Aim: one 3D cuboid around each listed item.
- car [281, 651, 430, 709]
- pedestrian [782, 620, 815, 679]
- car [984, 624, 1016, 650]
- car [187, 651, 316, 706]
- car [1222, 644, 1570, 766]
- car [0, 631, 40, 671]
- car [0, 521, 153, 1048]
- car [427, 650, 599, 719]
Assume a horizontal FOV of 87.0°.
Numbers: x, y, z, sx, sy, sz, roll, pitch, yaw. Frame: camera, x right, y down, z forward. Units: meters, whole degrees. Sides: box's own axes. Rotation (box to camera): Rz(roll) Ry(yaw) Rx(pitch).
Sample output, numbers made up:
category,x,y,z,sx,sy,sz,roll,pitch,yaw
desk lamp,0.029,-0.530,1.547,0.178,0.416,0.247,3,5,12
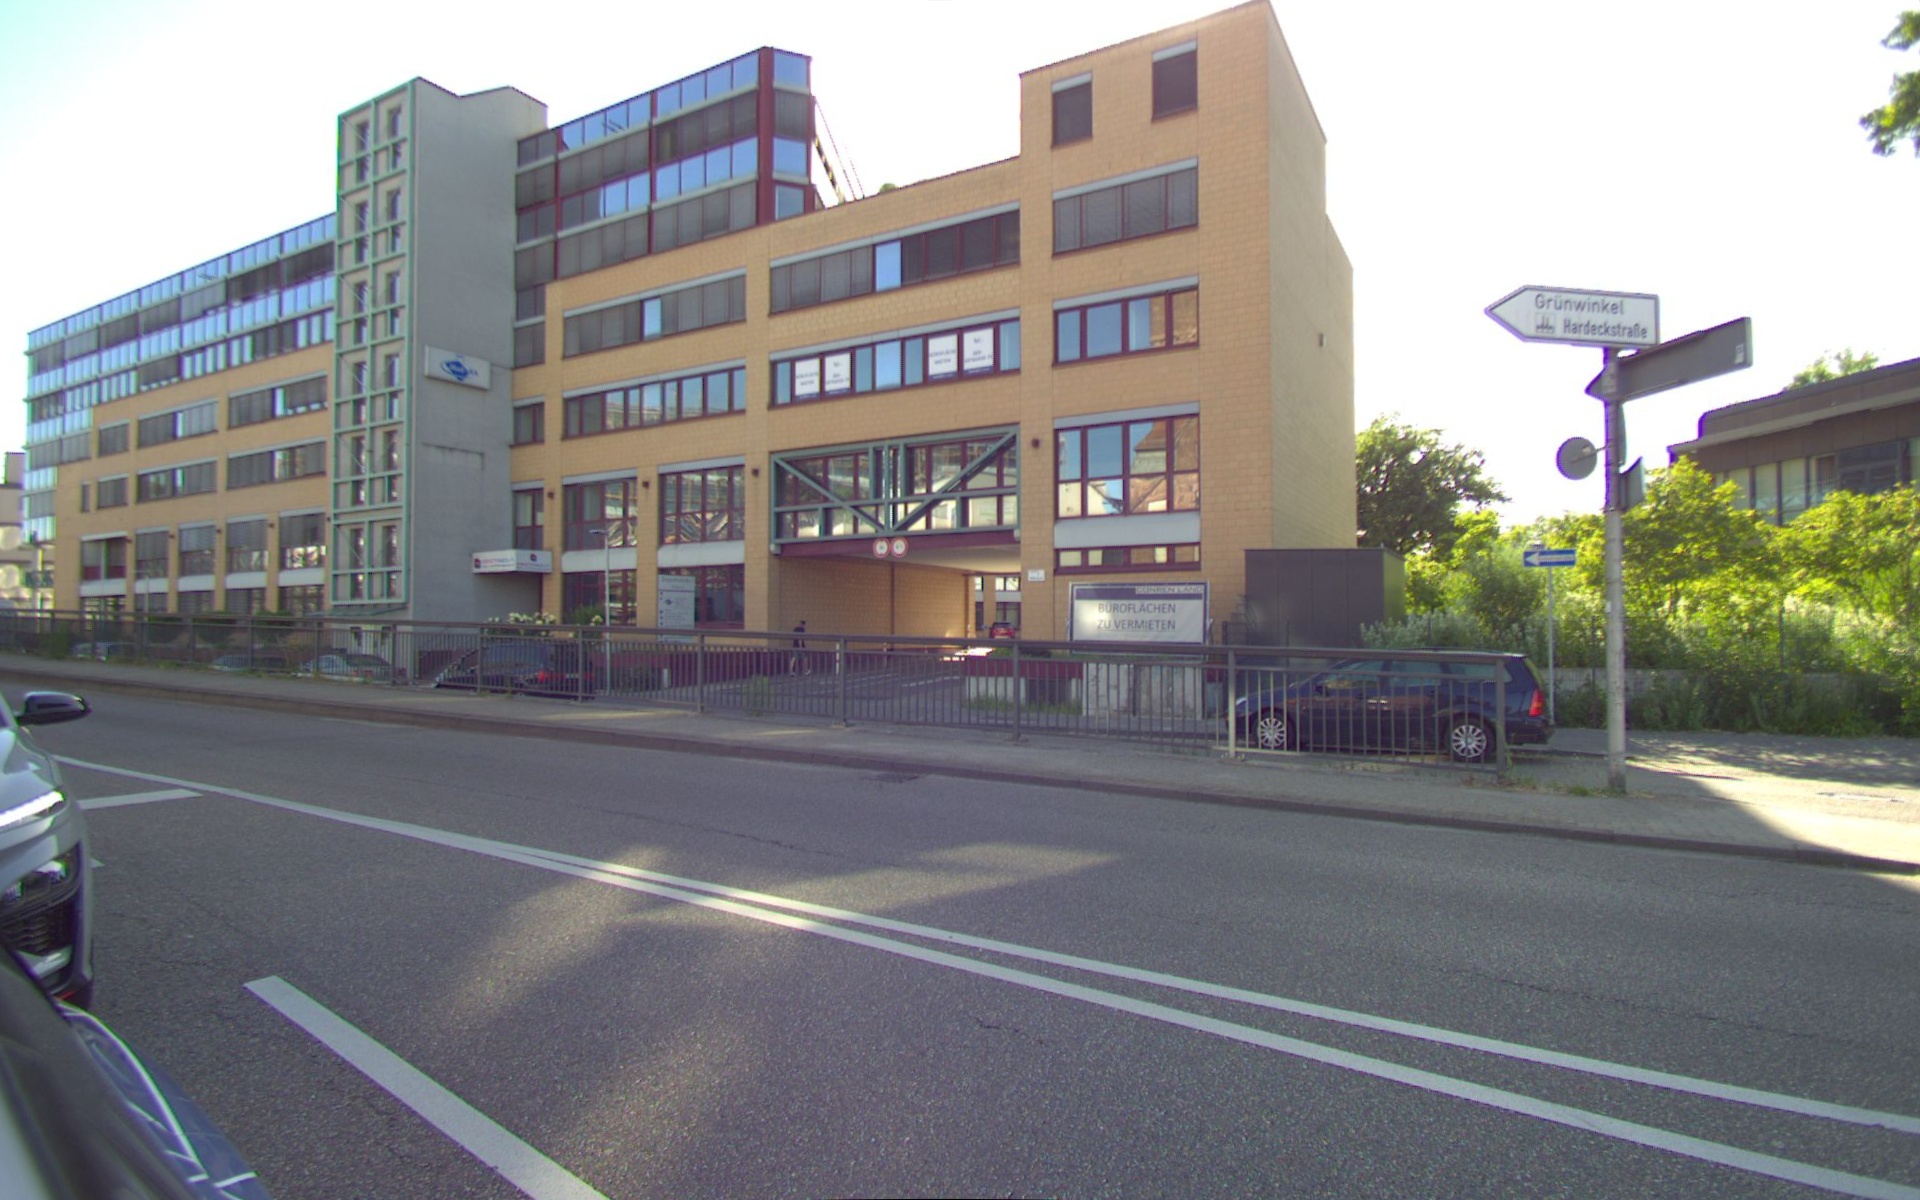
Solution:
category,x,y,z,sx,sy,sz,roll,pitch,yaw
car,-17.364,2.259,29.044,4.143,1.535,1.862,-2,-3,29
pedestrian,-5.208,1.597,32.628,0.703,1.865,0.738,-2,-1,35
car,2.633,2.448,67.270,1.742,1.532,4.003,-1,0,-3
car,-22.102,2.403,31.531,3.986,1.576,1.865,-2,-3,32
car,6.198,1.467,14.622,4.367,1.520,1.640,-3,-5,34
car,-40.037,2.100,41.894,3.988,1.519,1.978,-1,0,33
car,-4.905,0.613,4.146,4.196,1.634,1.854,-2,-3,42
car,-11.006,2.030,24.866,4.139,1.535,1.624,-2,-3,27
